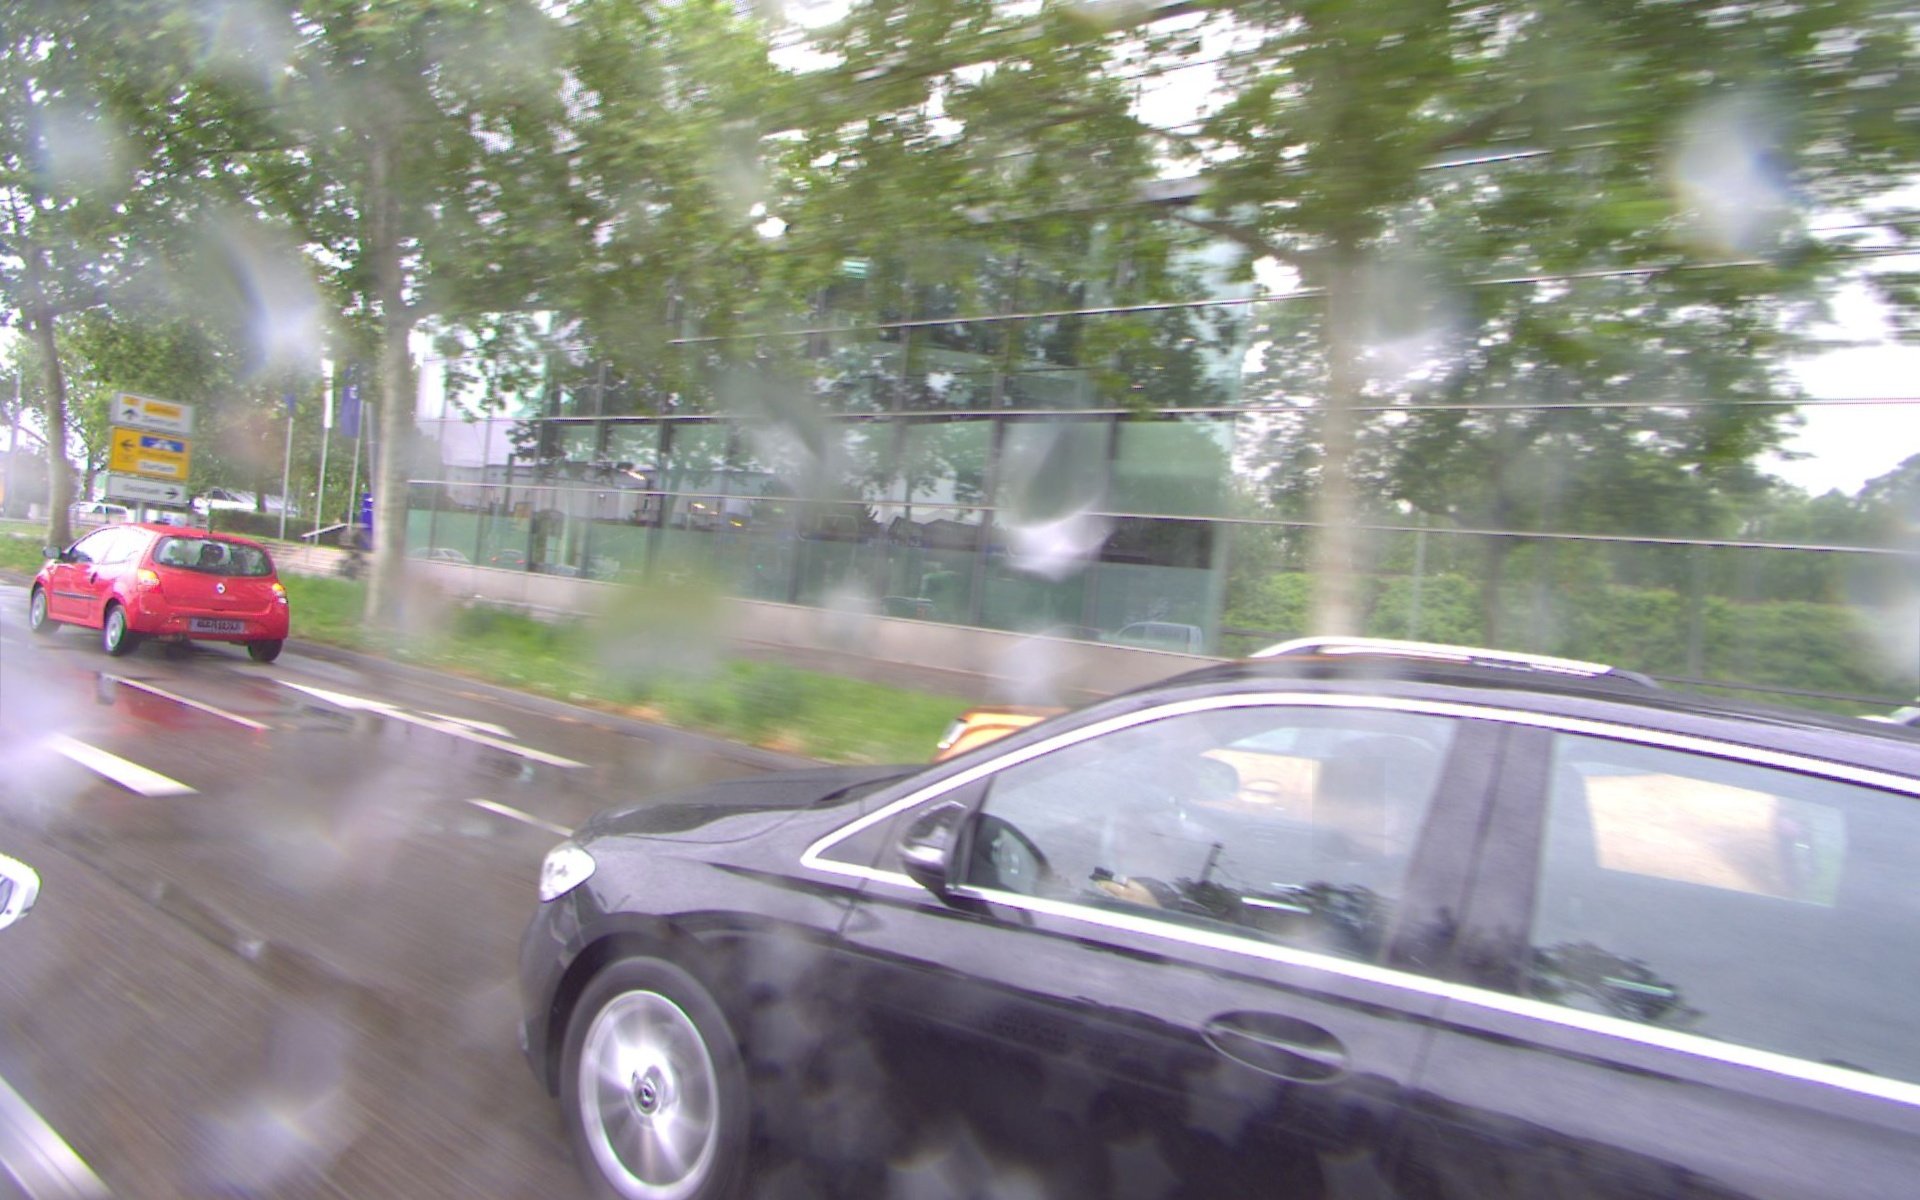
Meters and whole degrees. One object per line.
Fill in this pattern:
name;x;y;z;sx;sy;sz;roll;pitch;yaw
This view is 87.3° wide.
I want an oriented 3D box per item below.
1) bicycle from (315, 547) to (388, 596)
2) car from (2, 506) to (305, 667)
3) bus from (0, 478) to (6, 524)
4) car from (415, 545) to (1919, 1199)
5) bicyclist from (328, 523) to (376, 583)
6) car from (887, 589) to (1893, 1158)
bicycle;-16.430;-0.779;27.154;2.042;1.119;0.743;6;2;30
car;-9.802;-0.182;12.190;3.561;1.509;1.681;6;-1;32
bus;-73.286;-7.621;68.002;3.220;3.309;12.262;6;0;31
car;0.825;0.868;2.437;4.018;1.542;1.873;6;0;30
bicyclist;-16.401;-1.258;27.154;0.739;1.536;0.805;6;3;29
car;1.866;0.952;5.320;4.103;1.653;1.900;5;1;34
